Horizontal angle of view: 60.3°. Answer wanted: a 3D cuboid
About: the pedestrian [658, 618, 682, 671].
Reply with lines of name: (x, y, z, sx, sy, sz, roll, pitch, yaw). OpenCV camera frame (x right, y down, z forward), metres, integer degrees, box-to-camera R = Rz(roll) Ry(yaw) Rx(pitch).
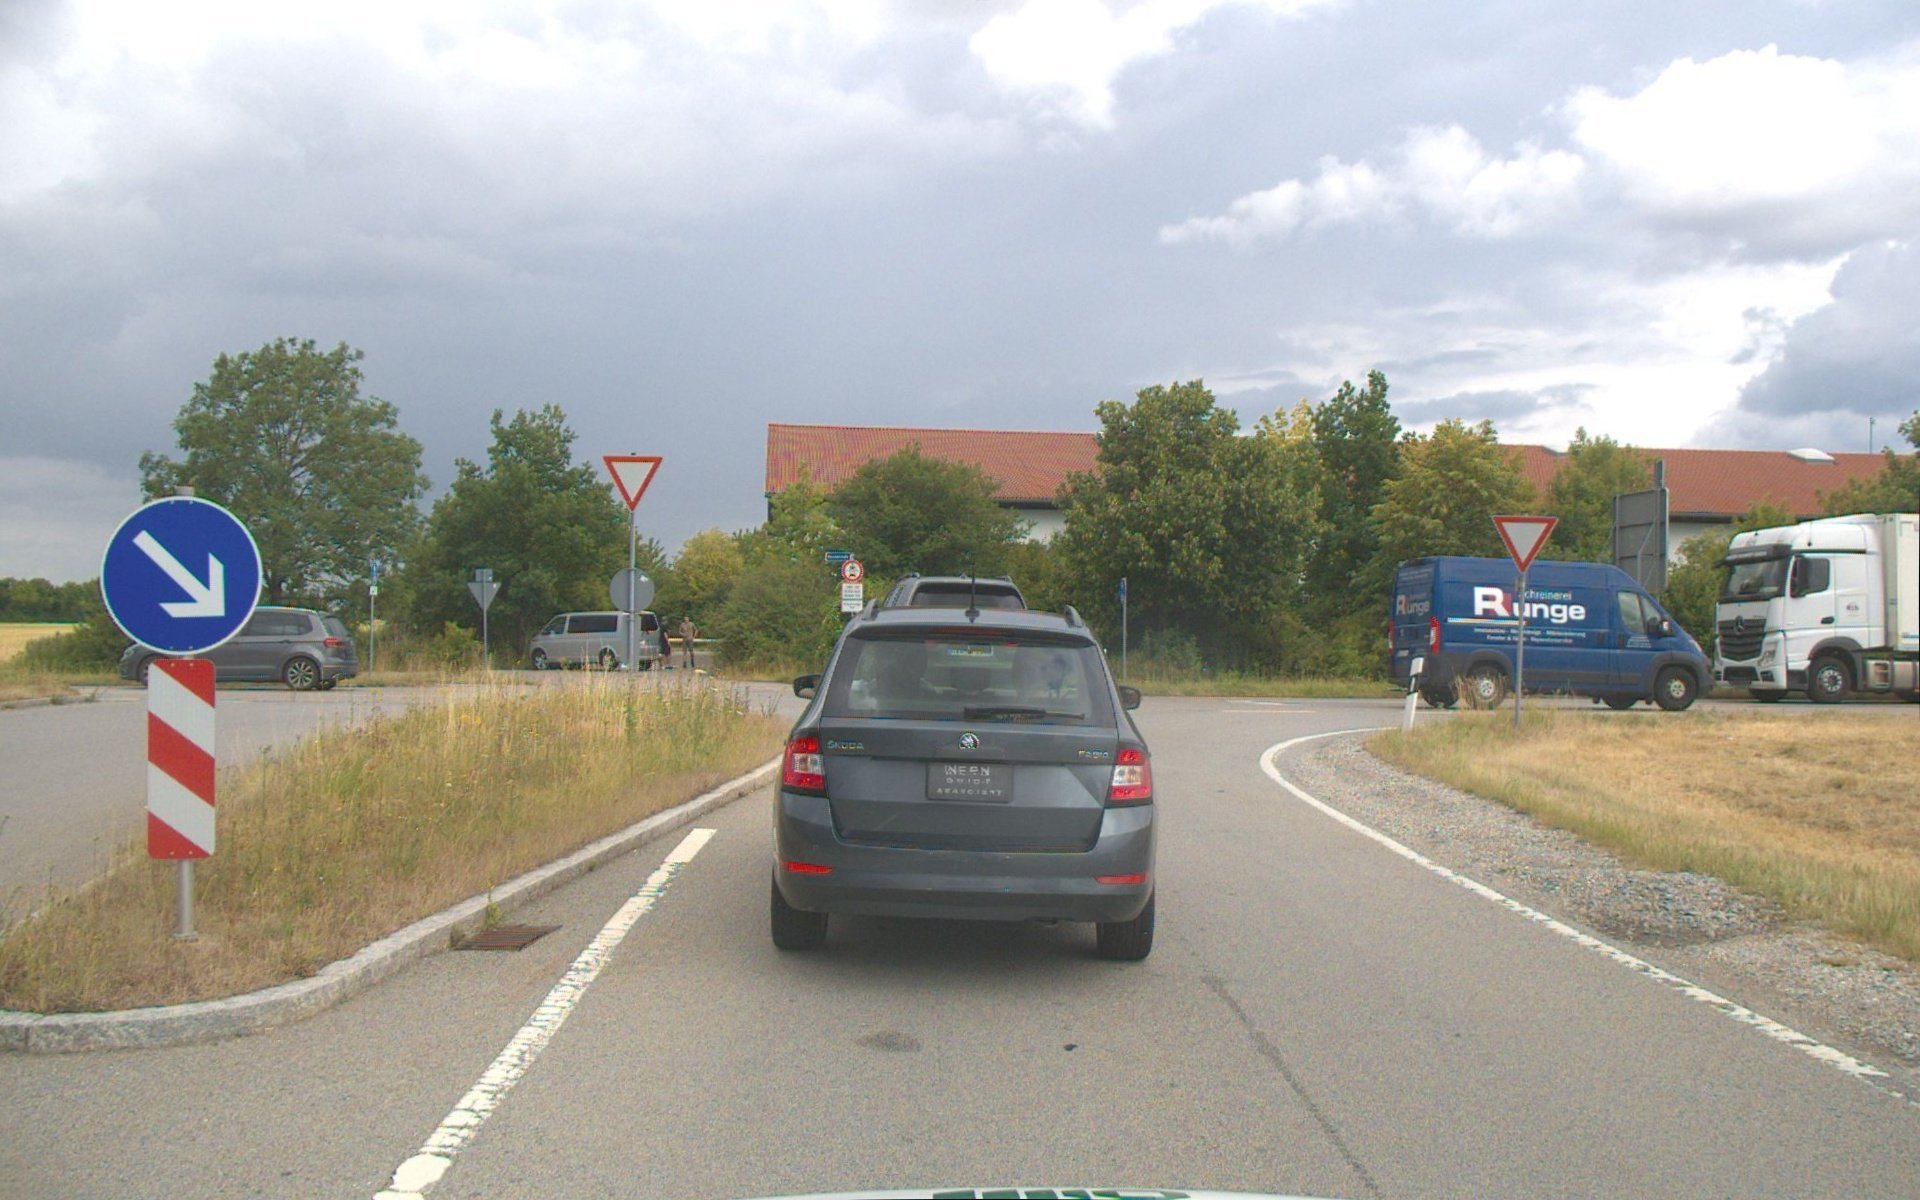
pedestrian: (-9.853, 1.502, 56.221, 0.519, 1.756, 0.640, 0, 0, 32)

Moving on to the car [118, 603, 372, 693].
car: (-13.870, 0.898, 32.311, 4.132, 1.629, 1.996, -1, 0, -9)

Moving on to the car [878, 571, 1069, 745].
car: (0.033, 0.658, 19.674, 1.954, 1.806, 4.640, 1, -1, -3)

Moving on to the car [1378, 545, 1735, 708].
car: (10.229, 0.421, 28.606, 5.445, 2.685, 2.147, 0, 0, -6)

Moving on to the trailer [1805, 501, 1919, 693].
trailer: (26.541, 0.050, 37.605, 13.576, 4.085, 3.124, 1, -2, -7)

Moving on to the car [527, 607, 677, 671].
car: (-12.245, 1.301, 56.504, 4.811, 2.049, 2.336, 0, 0, 33)

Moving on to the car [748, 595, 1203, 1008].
car: (-0.014, 0.738, 7.899, 1.643, 1.488, 3.706, 1, 0, -3)

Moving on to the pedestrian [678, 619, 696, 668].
pedestrian: (-9.626, 1.527, 58.312, 0.572, 1.712, 0.565, 0, 0, -8)

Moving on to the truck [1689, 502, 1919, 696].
truck: (20.473, 0.051, 36.858, 7.144, 4.085, 3.124, 1, -2, -7)
